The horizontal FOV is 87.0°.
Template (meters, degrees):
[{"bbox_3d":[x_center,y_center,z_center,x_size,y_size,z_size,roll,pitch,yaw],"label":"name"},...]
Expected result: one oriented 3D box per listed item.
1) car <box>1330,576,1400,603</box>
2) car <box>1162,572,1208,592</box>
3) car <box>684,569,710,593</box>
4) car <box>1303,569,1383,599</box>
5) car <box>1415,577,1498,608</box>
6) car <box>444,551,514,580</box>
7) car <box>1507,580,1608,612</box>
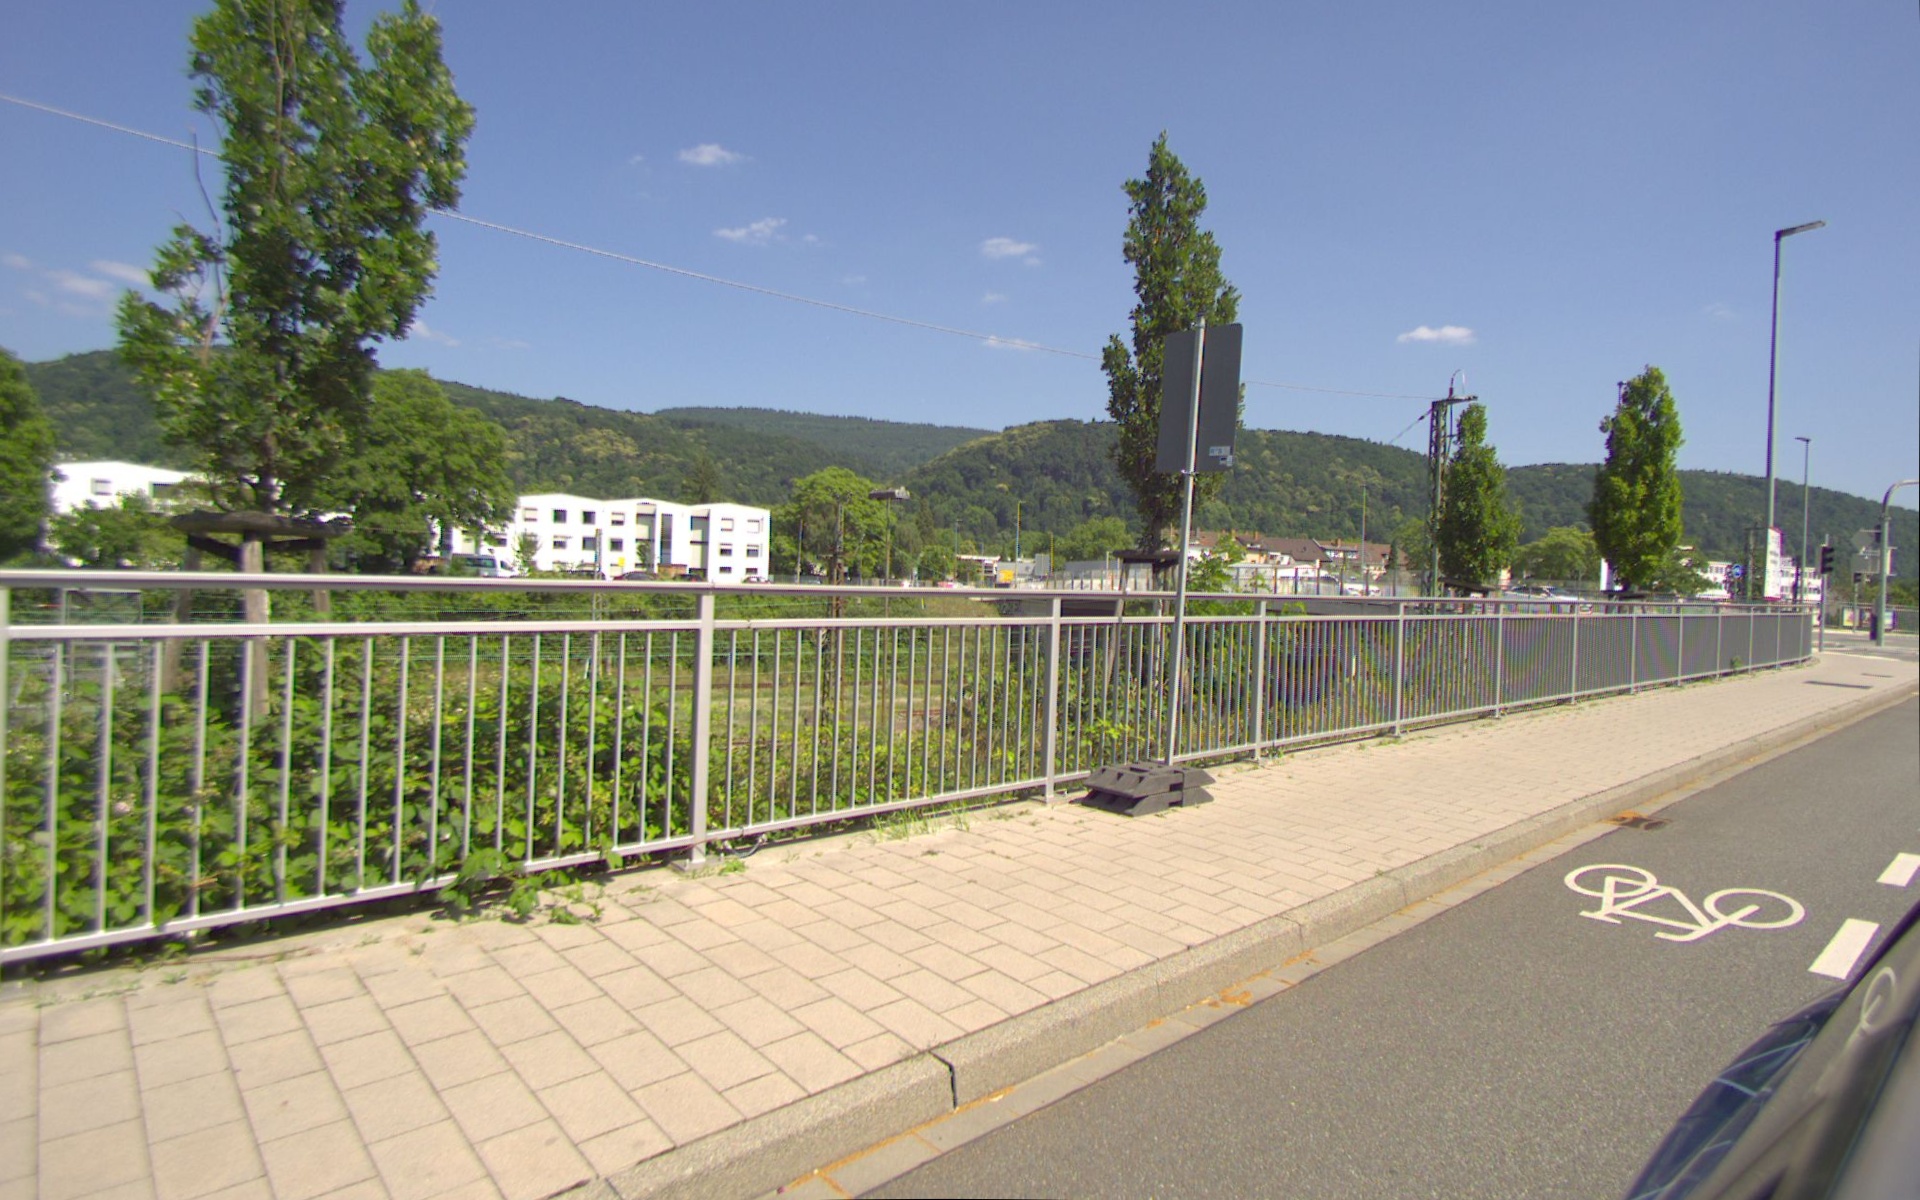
[{"bbox_3d":[26.438,-0.708,66.267,1.700,1.646,4.453,2,1,-19],"label":"car"},{"bbox_3d":[19.471,-1.562,87.771,1.700,1.647,4.452,1,1,-21],"label":"car"},{"bbox_3d":[-24.452,-1.771,93.941,1.958,2.038,4.481,2,1,-19],"label":"car"},{"bbox_3d":[23.585,-1.014,62.506,1.958,1.740,4.643,1,1,-22],"label":"car"},{"bbox_3d":[28.680,-0.456,58.592,1.700,1.646,4.453,2,1,-17],"label":"car"},{"bbox_3d":[-39.422,-2.806,82.984,4.897,2.139,2.000,1,1,-37],"label":"car"},{"bbox_3d":[30.571,-0.240,51.956,1.700,1.487,4.421,2,1,-17],"label":"car"}]
